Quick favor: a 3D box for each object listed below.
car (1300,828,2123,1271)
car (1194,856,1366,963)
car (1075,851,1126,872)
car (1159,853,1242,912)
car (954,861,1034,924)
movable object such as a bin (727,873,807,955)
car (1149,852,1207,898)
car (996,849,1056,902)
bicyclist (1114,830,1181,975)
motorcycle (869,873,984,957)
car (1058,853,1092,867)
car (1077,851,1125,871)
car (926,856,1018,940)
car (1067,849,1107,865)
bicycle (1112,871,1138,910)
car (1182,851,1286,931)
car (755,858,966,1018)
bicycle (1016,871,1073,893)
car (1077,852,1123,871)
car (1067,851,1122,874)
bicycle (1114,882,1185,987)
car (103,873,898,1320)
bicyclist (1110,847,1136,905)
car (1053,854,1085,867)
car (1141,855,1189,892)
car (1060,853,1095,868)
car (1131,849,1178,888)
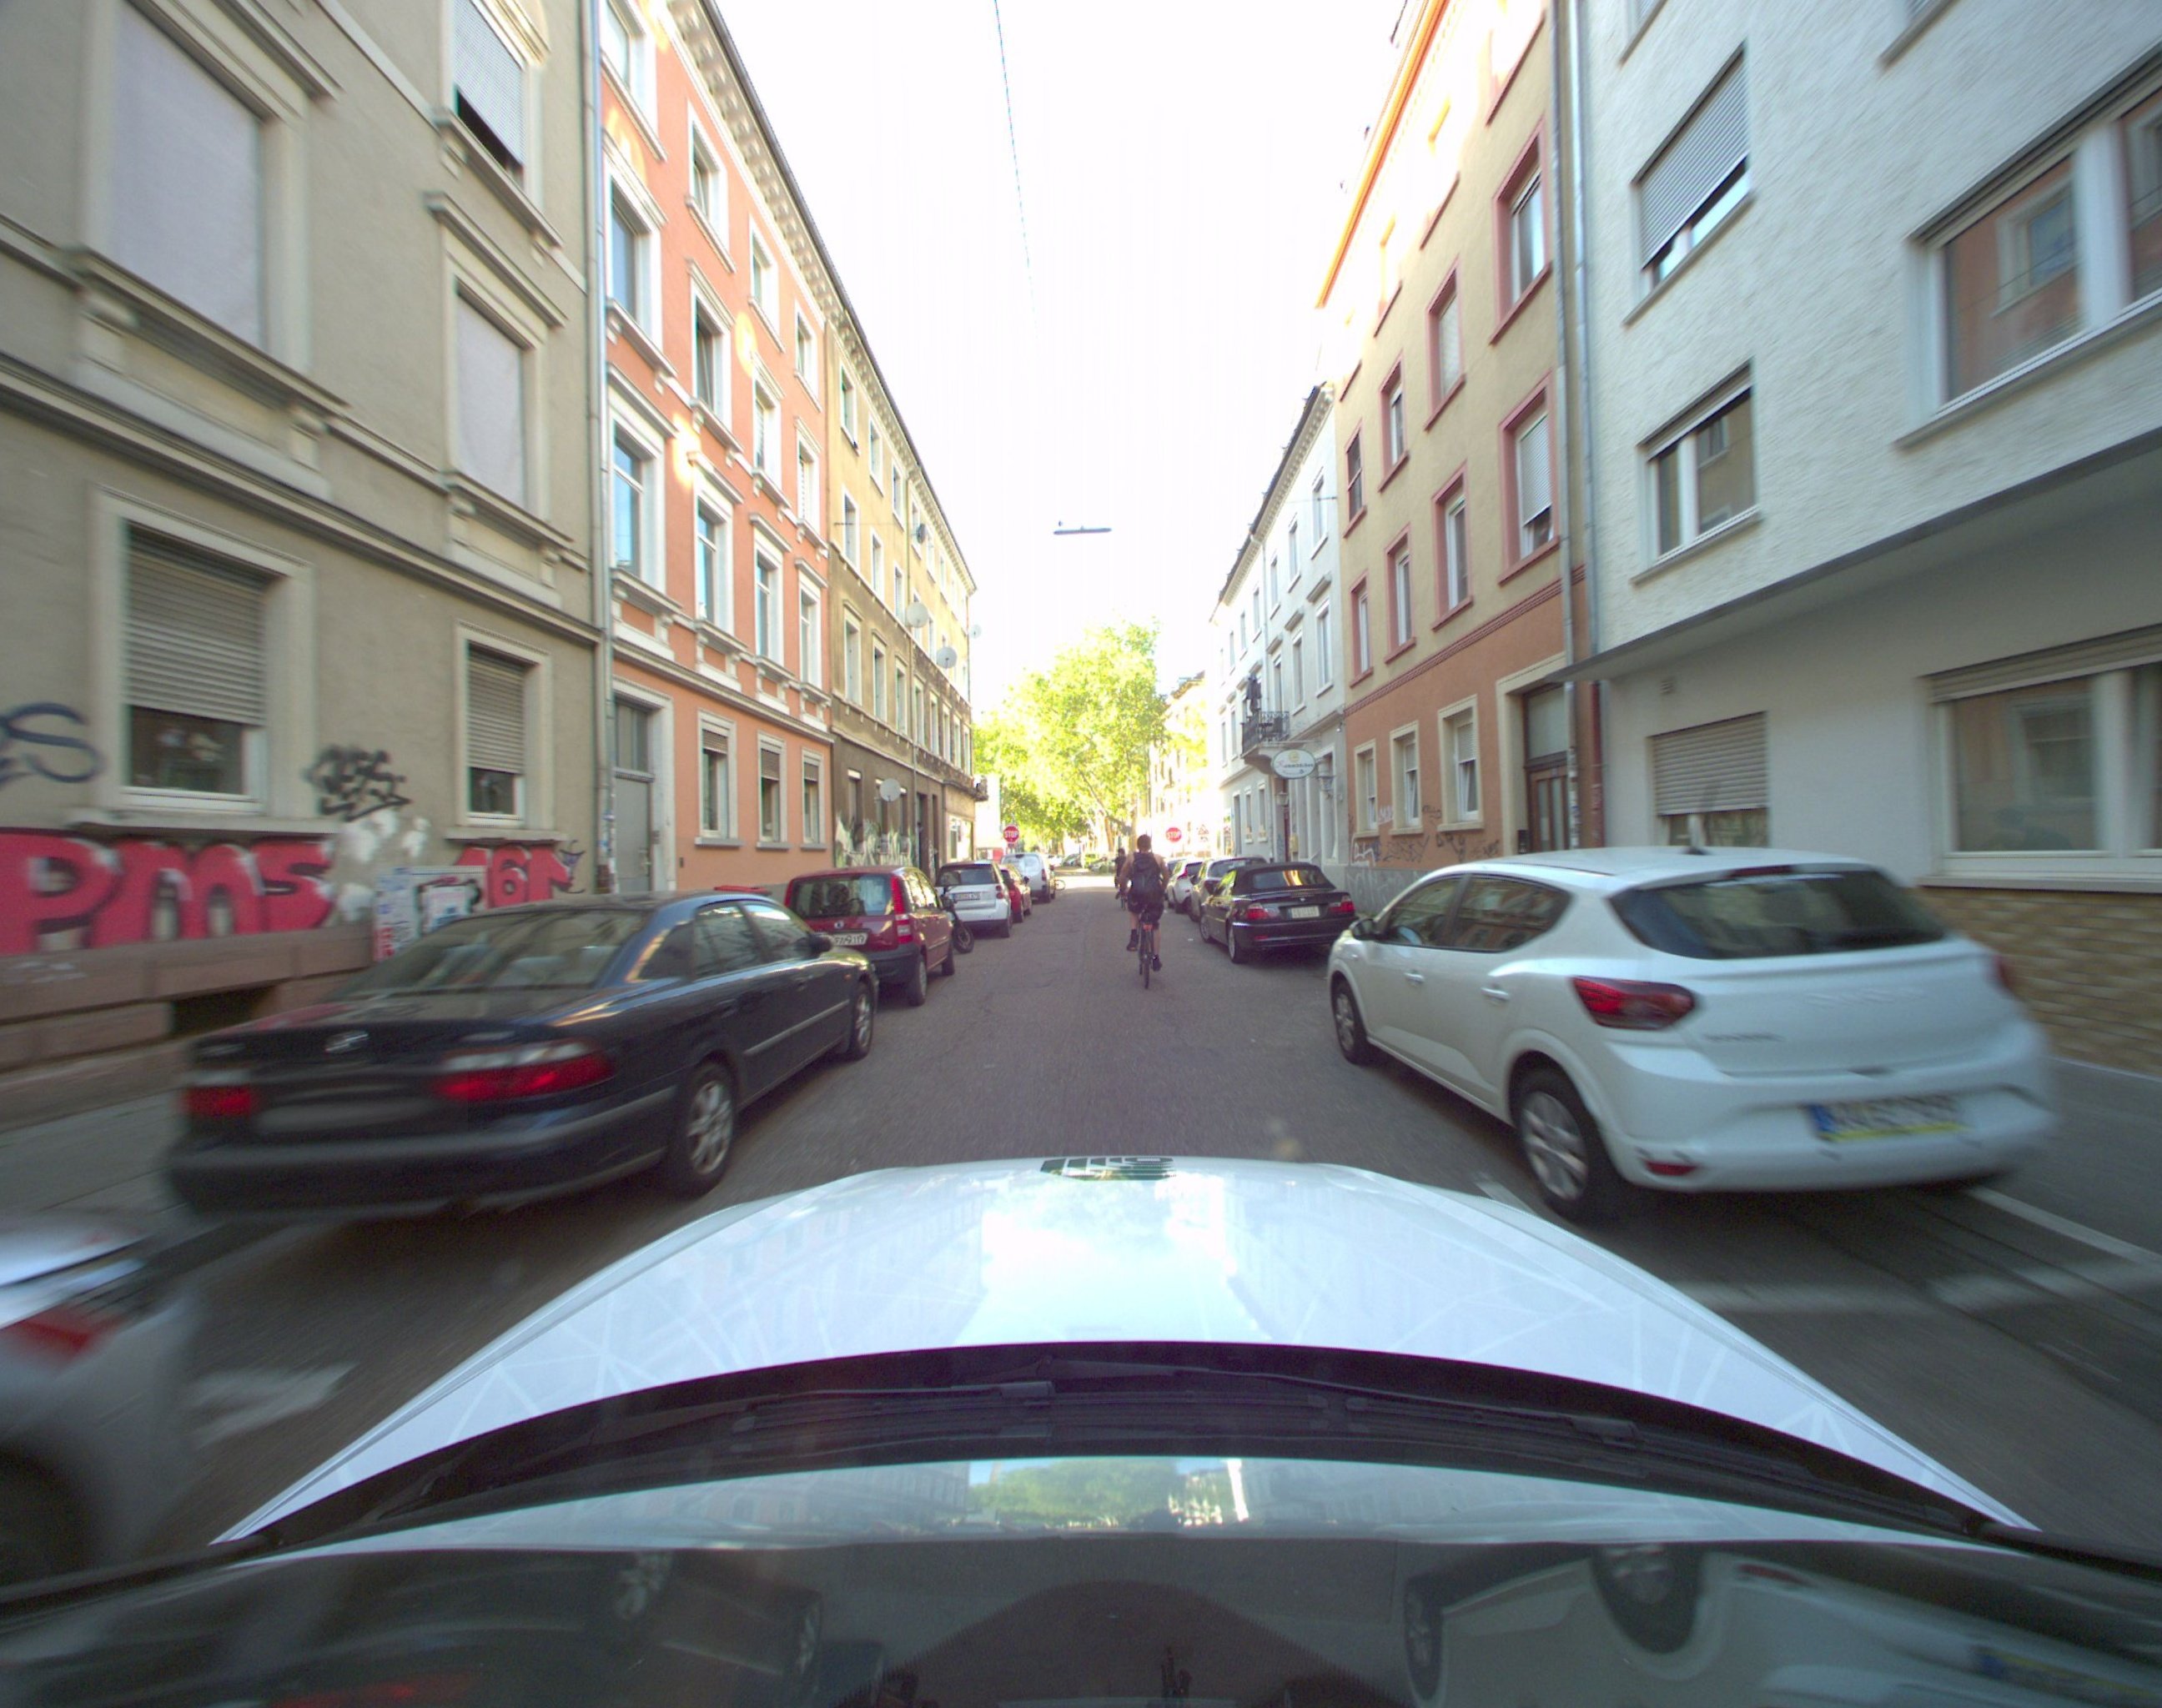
[{"bbox_3d":[2.773,0.682,4.875,1.726,1.470,4.019,-2,0,-1],"label":"car"},{"bbox_3d":[2.894,0.728,12.693,1.652,1.338,3.999,-2,0,0],"label":"car"},{"bbox_3d":[1.786,0.705,74.123,4.459,1.696,1.864,-2,0,-4],"label":"car"},{"bbox_3d":[3.296,0.742,23.128,1.705,1.470,3.999,-2,0,0],"label":"car"},{"bbox_3d":[-2.169,0.927,21.136,1.547,1.399,3.668,-2,0,1],"label":"car"},{"bbox_3d":[-4.865,0.918,12.659,0.831,1.126,0.716,-7,-1,3],"label":"movable object such as a bin"},{"bbox_3d":[3.549,0.740,30.235,1.647,1.530,3.573,-2,0,0],"label":"car"},{"bbox_3d":[-1.919,0.732,29.574,1.781,1.737,3.876,-2,0,1],"label":"car"},{"bbox_3d":[0.796,0.564,9.997,0.737,1.679,1.117,0,0,1],"label":"bicyclist"},{"bbox_3d":[-2.583,0.990,13.623,1.797,1.256,0.707,-2,0,-13],"label":"motorcycle"},{"bbox_3d":[-0.828,0.768,109.870,4.459,1.696,1.864,-2,0,-4],"label":"car"},{"bbox_3d":[1.944,0.688,78.498,4.459,1.696,1.864,-2,0,-4],"label":"car"},{"bbox_3d":[-2.227,0.854,17.372,1.540,1.550,3.463,-2,0,-2],"label":"car"},{"bbox_3d":[0.687,0.346,93.874,4.459,1.696,1.864,-2,0,-4],"label":"car"},{"bbox_3d":[1.263,1.044,23.842,0.661,1.037,1.959,-2,0,1],"label":"bicycle"},{"bbox_3d":[3.193,0.715,17.670,1.586,1.492,3.877,-2,0,2],"label":"car"},{"bbox_3d":[-2.483,0.864,9.997,1.600,1.530,3.378,-3,0,0],"label":"car"},{"bbox_3d":[-1.732,1.326,38.971,2.708,0.892,0.618,-2,0,-2],"label":"bicycle"},{"bbox_3d":[1.862,0.697,80.850,4.459,1.696,1.864,-2,0,-4],"label":"car"},{"bbox_3d":[1.135,0.712,68.961,4.459,1.759,1.864,-2,0,-4],"label":"car"},{"bbox_3d":[0.802,0.931,10.090,0.737,1.100,2.042,0,0,1],"label":"bicycle"},{"bbox_3d":[-2.547,0.911,5.036,1.700,1.414,4.303,-2,0,1],"label":"car"},{"bbox_3d":[1.231,0.637,23.822,0.667,1.658,0.877,-2,0,1],"label":"bicyclist"},{"bbox_3d":[-1.739,0.938,116.897,4.459,1.696,1.864,-2,0,-4],"label":"car"},{"bbox_3d":[3.651,0.801,35.810,1.681,1.471,3.573,-2,0,0],"label":"car"},{"bbox_3d":[-0.472,0.872,106.526,4.459,1.696,1.864,-2,0,-4],"label":"car"},{"bbox_3d":[3.629,0.695,40.845,1.887,1.769,3.998,-2,0,-1],"label":"car"}]
